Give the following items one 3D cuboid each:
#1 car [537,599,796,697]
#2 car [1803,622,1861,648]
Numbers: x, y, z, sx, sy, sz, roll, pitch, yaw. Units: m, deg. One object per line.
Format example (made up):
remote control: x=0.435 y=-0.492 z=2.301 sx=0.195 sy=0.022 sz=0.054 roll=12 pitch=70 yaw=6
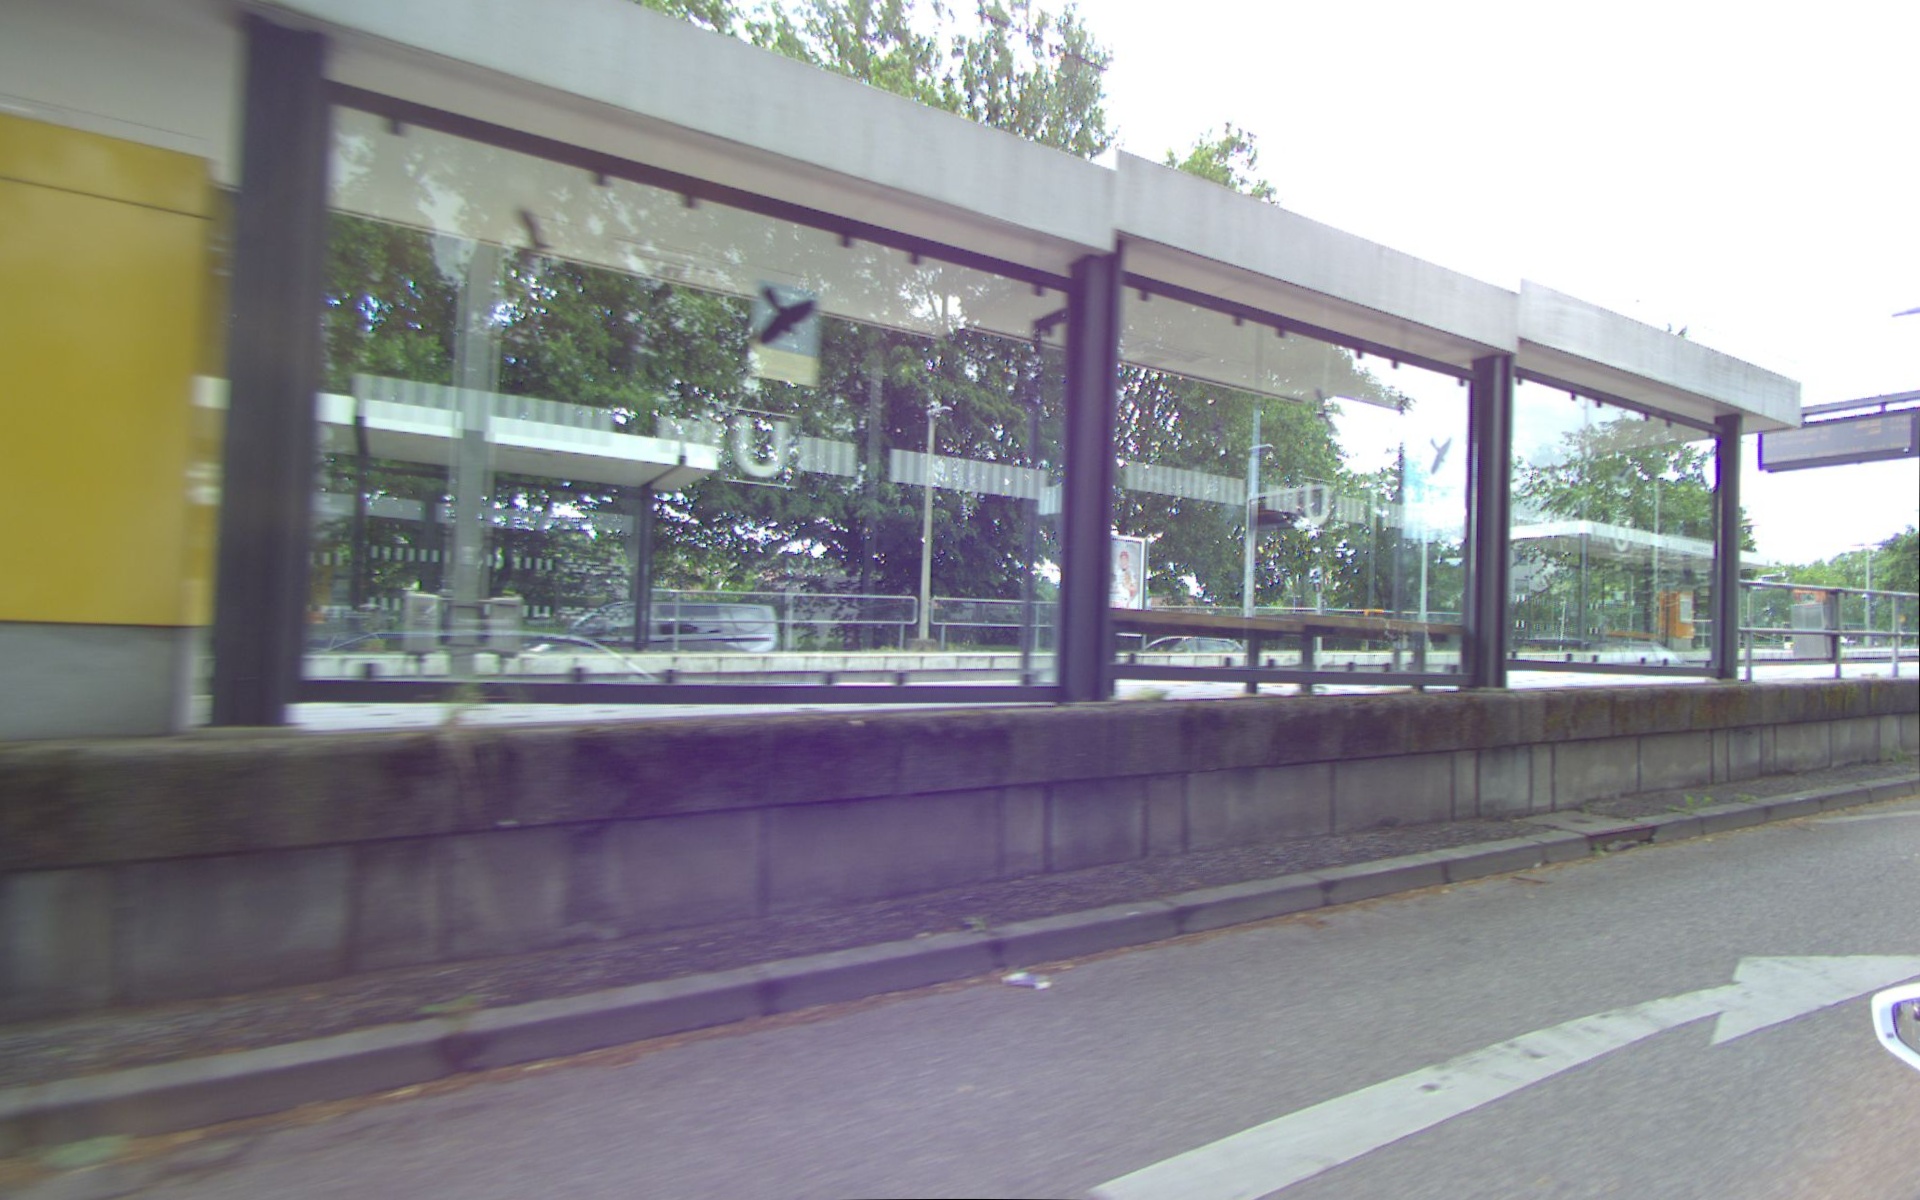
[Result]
car: x=-5.817 y=0.973 z=20.040 sx=4.572 sy=1.697 sz=1.983 roll=3 pitch=0 yaw=-31
car: x=63.005 y=2.536 z=72.651 sx=1.581 sy=1.728 sz=3.393 roll=3 pitch=0 yaw=9
